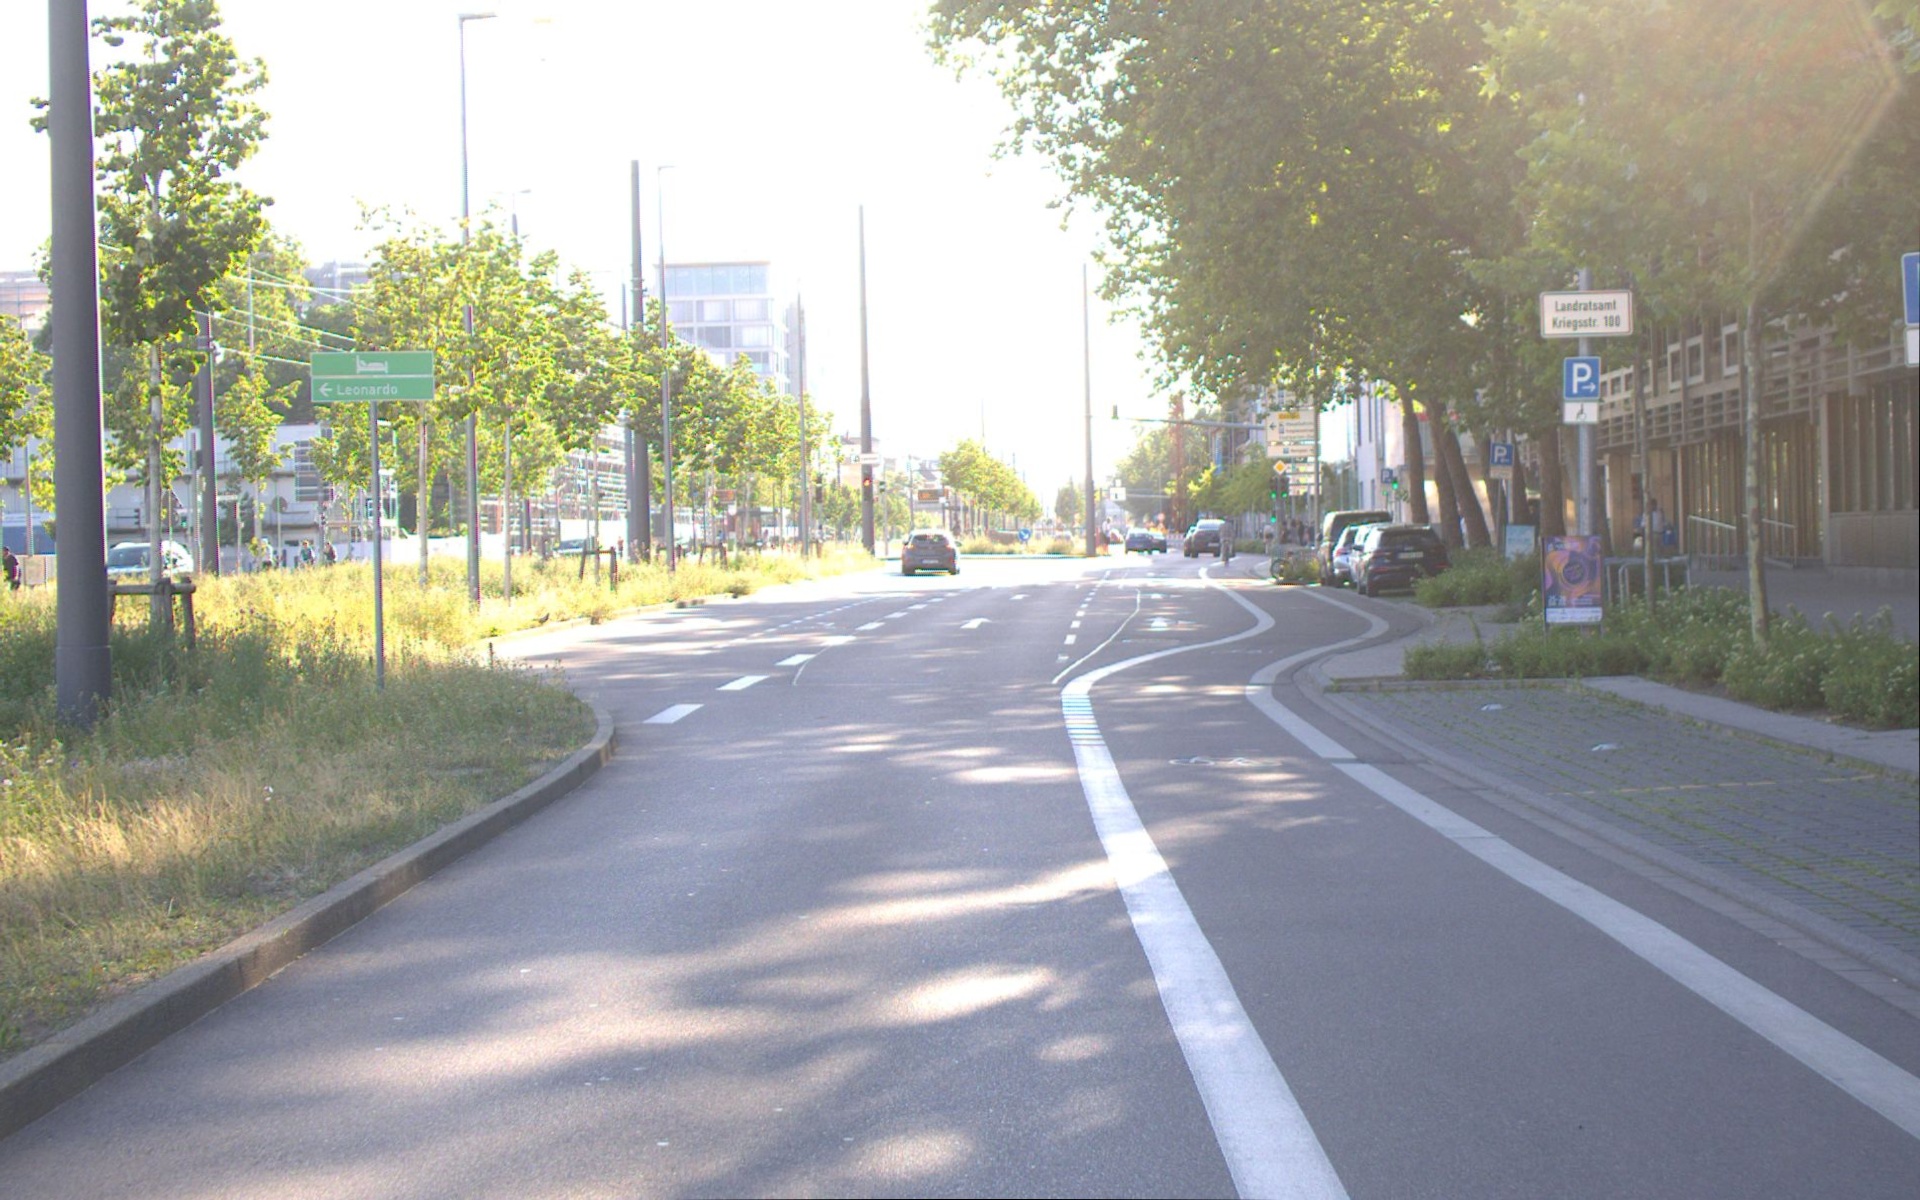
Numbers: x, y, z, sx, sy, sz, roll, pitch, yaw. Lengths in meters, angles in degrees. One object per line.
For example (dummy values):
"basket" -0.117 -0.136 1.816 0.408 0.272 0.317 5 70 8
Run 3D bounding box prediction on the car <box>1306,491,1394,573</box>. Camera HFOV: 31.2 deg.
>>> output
"car" 10.134 -1.793 89.598 1.829 1.964 5.321 -3 1 3

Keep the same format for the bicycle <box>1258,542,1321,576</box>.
"bicycle" 9.377 -1.168 97.765 1.693 0.864 0.572 -3 1 11

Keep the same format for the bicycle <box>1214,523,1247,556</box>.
"bicycle" 10.068 -2.243 127.929 0.800 1.200 2.262 -1 1 15

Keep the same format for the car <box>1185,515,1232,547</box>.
"car" 11.540 -3.232 159.779 1.940 1.423 3.926 -1 1 1

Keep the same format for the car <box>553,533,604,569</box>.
"car" -19.627 -2.521 176.921 1.994 1.770 4.000 -1 1 2

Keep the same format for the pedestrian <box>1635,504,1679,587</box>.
"pedestrian" 15.912 -1.246 78.465 0.831 1.850 0.847 -1 1 2

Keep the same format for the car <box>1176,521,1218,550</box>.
"car" 12.398 -3.391 180.241 1.940 1.479 3.926 -1 1 1

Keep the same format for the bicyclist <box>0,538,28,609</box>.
"bicyclist" -23.174 -0.640 83.593 0.687 1.702 0.954 -1 1 2

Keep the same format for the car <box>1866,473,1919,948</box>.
"car" 4.248 0.394 10.346 1.728 1.682 4.515 -3 1 -1

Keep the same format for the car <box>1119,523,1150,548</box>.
"car" 10.848 -4.008 214.122 1.759 1.479 3.850 -1 1 1

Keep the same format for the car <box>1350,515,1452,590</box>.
"car" 9.124 -1.000 71.331 1.706 1.413 4.276 -3 1 3

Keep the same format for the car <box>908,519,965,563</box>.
"car" -0.757 -1.942 112.334 1.777 1.423 4.000 0 1 1

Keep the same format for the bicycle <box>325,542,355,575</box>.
"bicycle" -21.575 -1.440 119.709 0.584 1.101 1.987 -1 1 3

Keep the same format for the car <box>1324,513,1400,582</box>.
"car" 9.742 -1.285 83.271 1.682 1.509 5.058 -3 1 7

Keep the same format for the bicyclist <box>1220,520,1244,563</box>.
"bicyclist" 10.132 -2.173 127.954 0.800 1.596 0.785 -1 1 1

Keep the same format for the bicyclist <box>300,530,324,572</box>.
"bicyclist" -22.396 -1.687 118.830 0.584 1.437 1.075 -1 1 3

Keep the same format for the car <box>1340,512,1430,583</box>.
"car" 9.590 -1.201 77.722 1.682 1.473 3.874 -3 1 3

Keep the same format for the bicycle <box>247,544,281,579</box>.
"bicycle" -21.737 -1.197 107.438 0.559 1.056 1.898 -1 1 3

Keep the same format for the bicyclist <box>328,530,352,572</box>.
"bicyclist" -21.579 -1.707 119.656 0.584 1.437 1.075 -1 1 3

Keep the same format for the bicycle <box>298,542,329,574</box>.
"bicycle" -22.376 -1.464 119.048 0.584 1.101 1.987 -1 1 3

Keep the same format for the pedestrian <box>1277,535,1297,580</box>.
"pedestrian" 12.026 -1.574 126.616 0.634 1.602 0.570 -3 1 4

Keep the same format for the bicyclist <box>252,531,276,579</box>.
"bicyclist" -21.744 -1.408 107.404 0.557 1.502 0.668 -1 1 3
